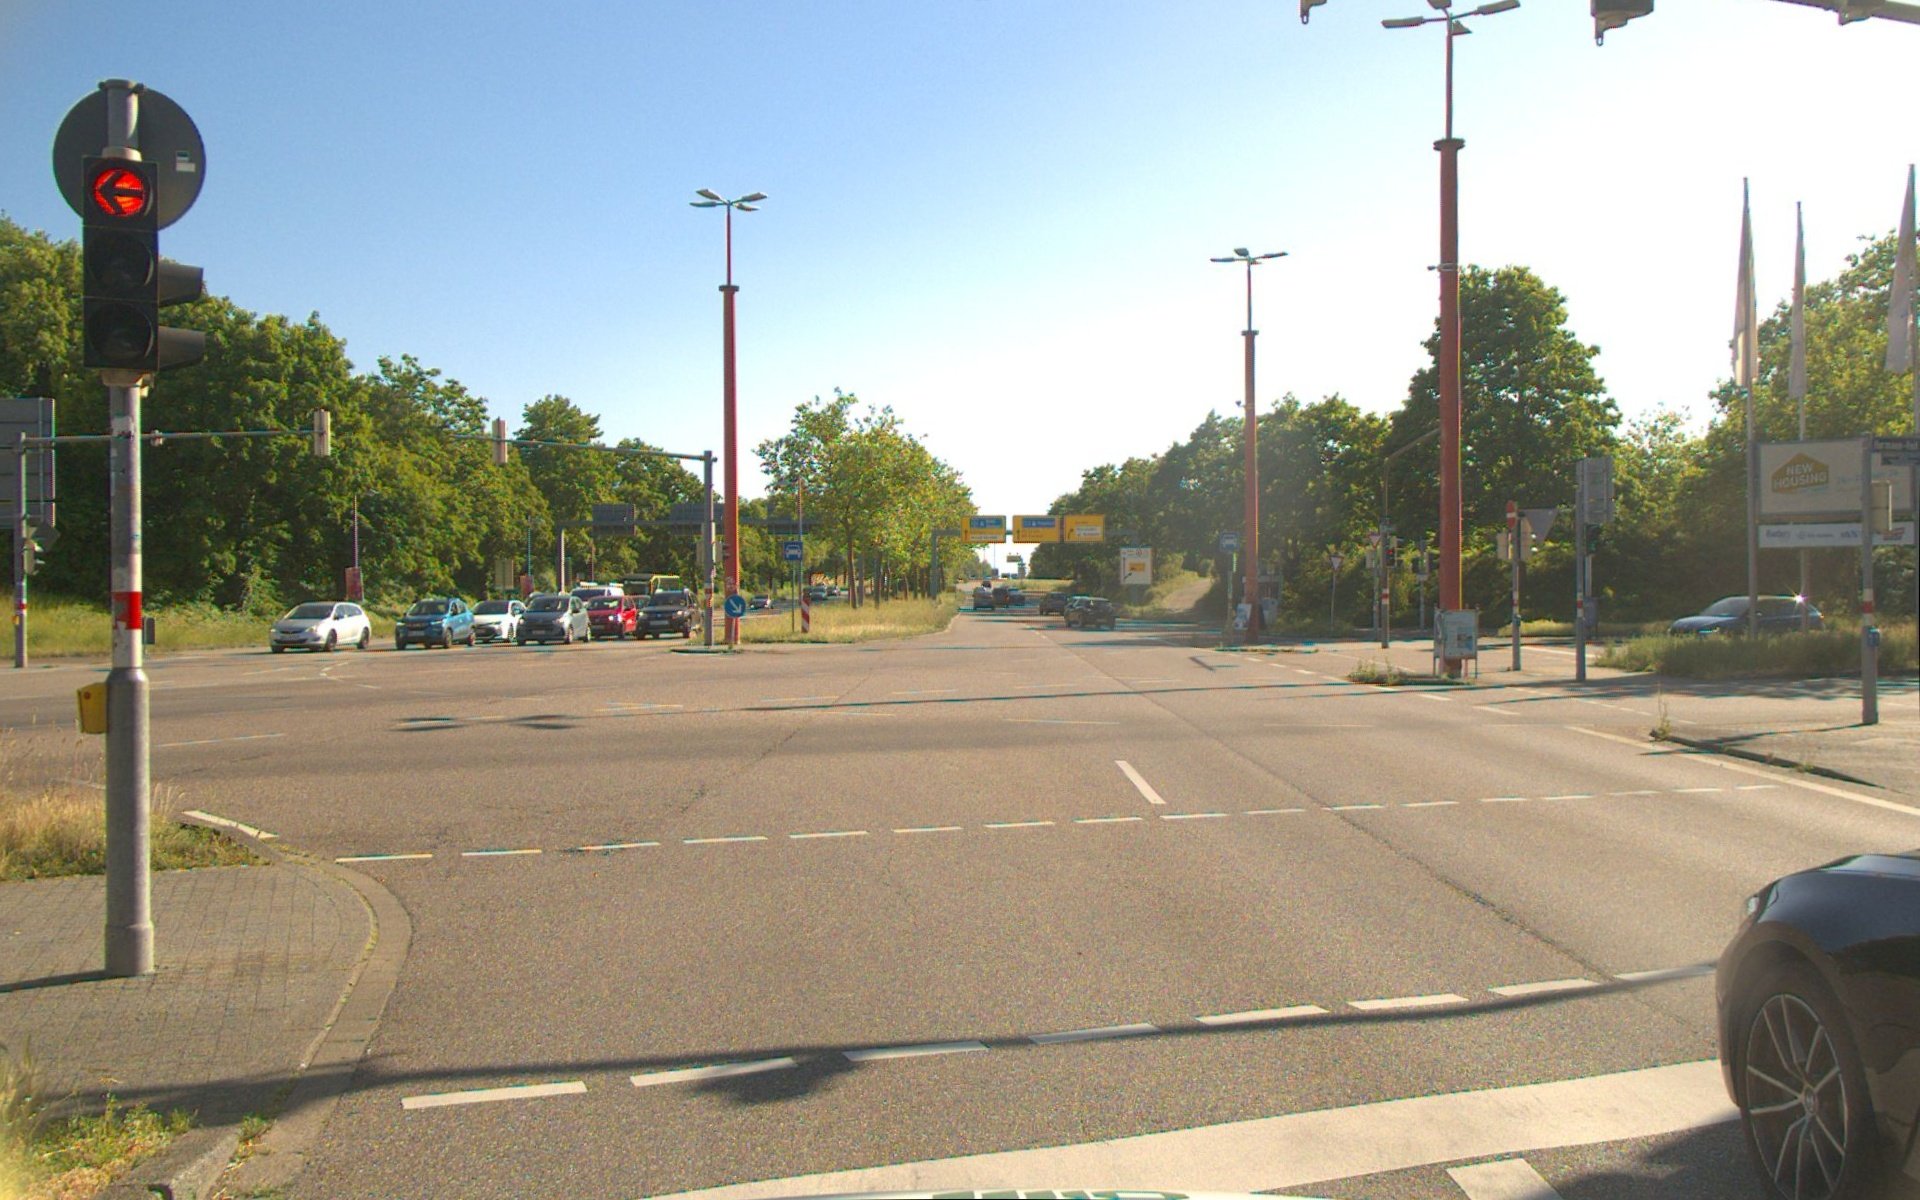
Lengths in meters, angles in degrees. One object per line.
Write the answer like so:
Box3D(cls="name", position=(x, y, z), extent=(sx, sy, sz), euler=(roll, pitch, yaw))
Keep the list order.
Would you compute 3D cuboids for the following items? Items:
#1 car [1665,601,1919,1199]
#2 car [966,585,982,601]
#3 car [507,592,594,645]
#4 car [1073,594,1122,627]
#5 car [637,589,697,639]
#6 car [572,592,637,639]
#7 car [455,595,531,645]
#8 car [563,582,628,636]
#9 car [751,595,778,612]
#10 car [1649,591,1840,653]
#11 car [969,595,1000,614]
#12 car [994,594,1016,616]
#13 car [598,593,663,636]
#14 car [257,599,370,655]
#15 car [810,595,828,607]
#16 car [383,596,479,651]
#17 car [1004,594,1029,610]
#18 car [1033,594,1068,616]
Box3D(cls="car", position=(2.964, 0.717, 2.357), extent=(1.953, 1.419, 4.476), euler=(0, 0, -1))
Box3D(cls="car", position=(1.765, -0.918, 214.653), extent=(1.953, 2.049, 3.999), euler=(0, 0, -1))
Box3D(cls="car", position=(-12.808, 0.555, 51.963), extent=(1.954, 1.601, 4.118), euler=(0, 0, -4))
Box3D(cls="car", position=(6.725, 0.499, 81.185), extent=(2.114, 1.601, 4.281), euler=(0, 0, 1))
Box3D(cls="car", position=(-9.877, 0.456, 55.989), extent=(1.841, 1.601, 4.113), euler=(0, 0, -8))
Box3D(cls="car", position=(-12.481, 0.524, 58.270), extent=(1.956, 1.601, 4.113), euler=(0, 0, -8))
Box3D(cls="car", position=(-15.992, 0.662, 56.783), extent=(1.956, 1.601, 4.113), euler=(-1, 0, -8))
Box3D(cls="car", position=(-15.673, 0.386, 71.264), extent=(2.021, 2.231, 4.376), euler=(0, 0, -3))
Box3D(cls="car", position=(-18.063, 0.317, 152.782), extent=(1.953, 1.601, 4.120), euler=(0, 0, 0))
Box3D(cls="car", position=(19.571, 0.522, 41.291), extent=(4.201, 1.453, 1.874), euler=(0, 0, -19))
Box3D(cls="car", position=(2.063, 0.356, 139.464), extent=(2.202, 1.601, 4.276), euler=(0, 0, -5))
Box3D(cls="car", position=(4.253, 0.438, 157.548), extent=(1.953, 2.049, 3.999), euler=(0, 0, -1))
Box3D(cls="car", position=(-12.713, 0.528, 64.045), extent=(1.954, 1.601, 4.117), euler=(0, 0, -4))
Box3D(cls="car", position=(-19.590, 0.786, 50.297), extent=(1.954, 1.601, 4.118), euler=(0, 0, -3))
Box3D(cls="car", position=(-17.227, 0.147, 202.382), extent=(1.846, 1.480, 3.656), euler=(0, 0, 0))
Box3D(cls="car", position=(-16.212, 0.683, 50.890), extent=(1.955, 1.601, 4.116), euler=(0, 0, -5))
Box3D(cls="car", position=(5.878, 0.217, 172.475), extent=(2.116, 1.601, 4.277), euler=(0, 0, -4))
Box3D(cls="car", position=(6.793, 0.337, 124.348), extent=(2.116, 1.601, 4.277), euler=(0, 0, -4))
